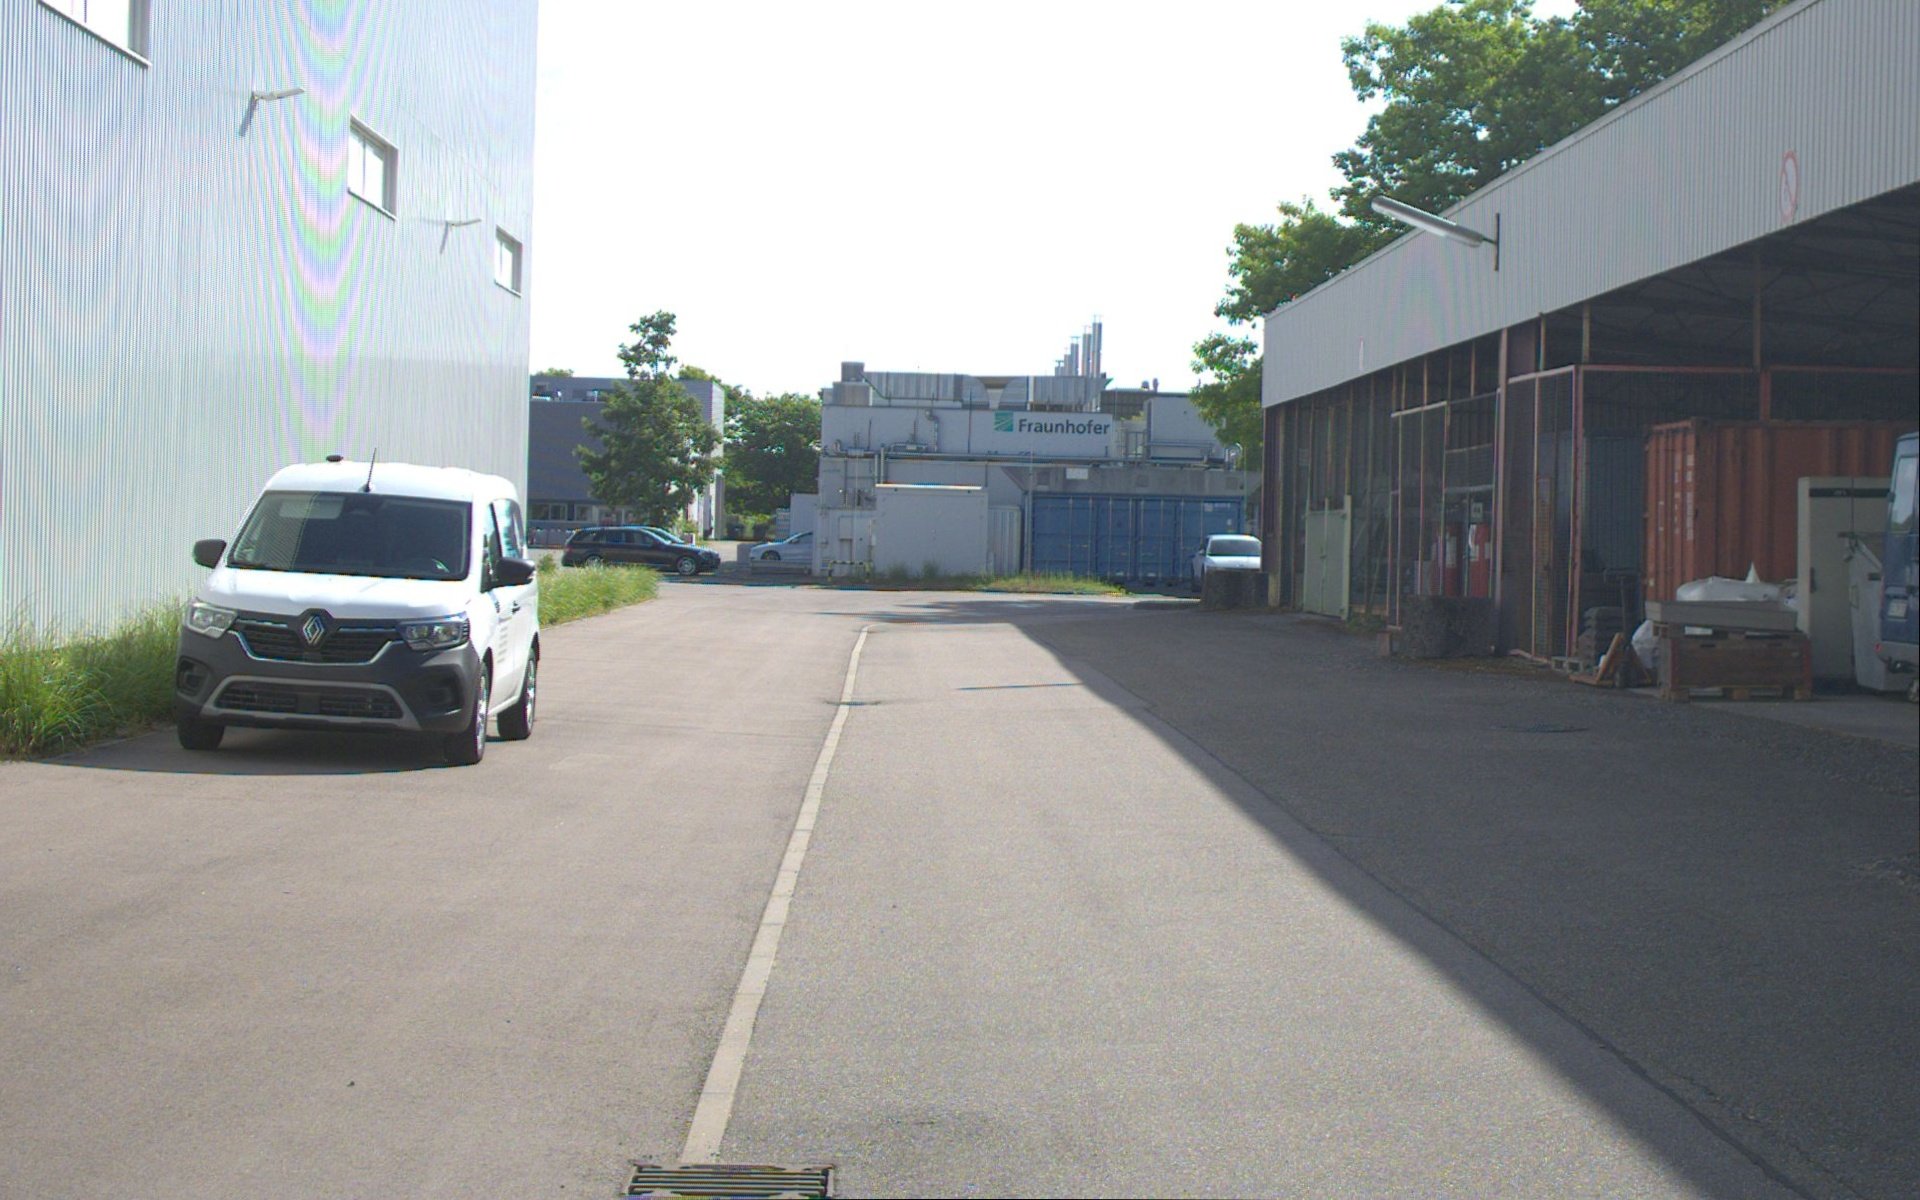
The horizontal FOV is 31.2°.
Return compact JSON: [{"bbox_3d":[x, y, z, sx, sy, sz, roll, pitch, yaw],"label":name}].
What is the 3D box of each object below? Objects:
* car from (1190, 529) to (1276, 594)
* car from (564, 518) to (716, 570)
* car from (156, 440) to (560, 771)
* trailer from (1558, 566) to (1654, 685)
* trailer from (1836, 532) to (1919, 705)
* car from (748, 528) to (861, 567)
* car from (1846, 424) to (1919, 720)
[{"bbox_3d":[7.242,-1.034,91.610,1.979,1.597,4.377,0,2,1],"label":"car"},{"bbox_3d":[-9.657,-1.679,103.891,4.447,1.525,1.824,0,1,-1],"label":"car"},{"bbox_3d":[-3.716,0.005,22.002,1.783,1.809,4.602,3,1,-1],"label":"car"},{"bbox_3d":[6.197,0.233,33.034,0.551,1.114,1.547,0,1,-3],"label":"trailer"},{"bbox_3d":[8.844,0.141,29.949,2.038,1.461,1.738,0,1,3],"label":"trailer"},{"bbox_3d":[-5.942,-2.025,131.825,4.302,1.452,1.824,0,1,-1],"label":"car"},{"bbox_3d":[10.020,-0.187,27.341,5.332,2.273,2.153,1,1,-1],"label":"car"}]
